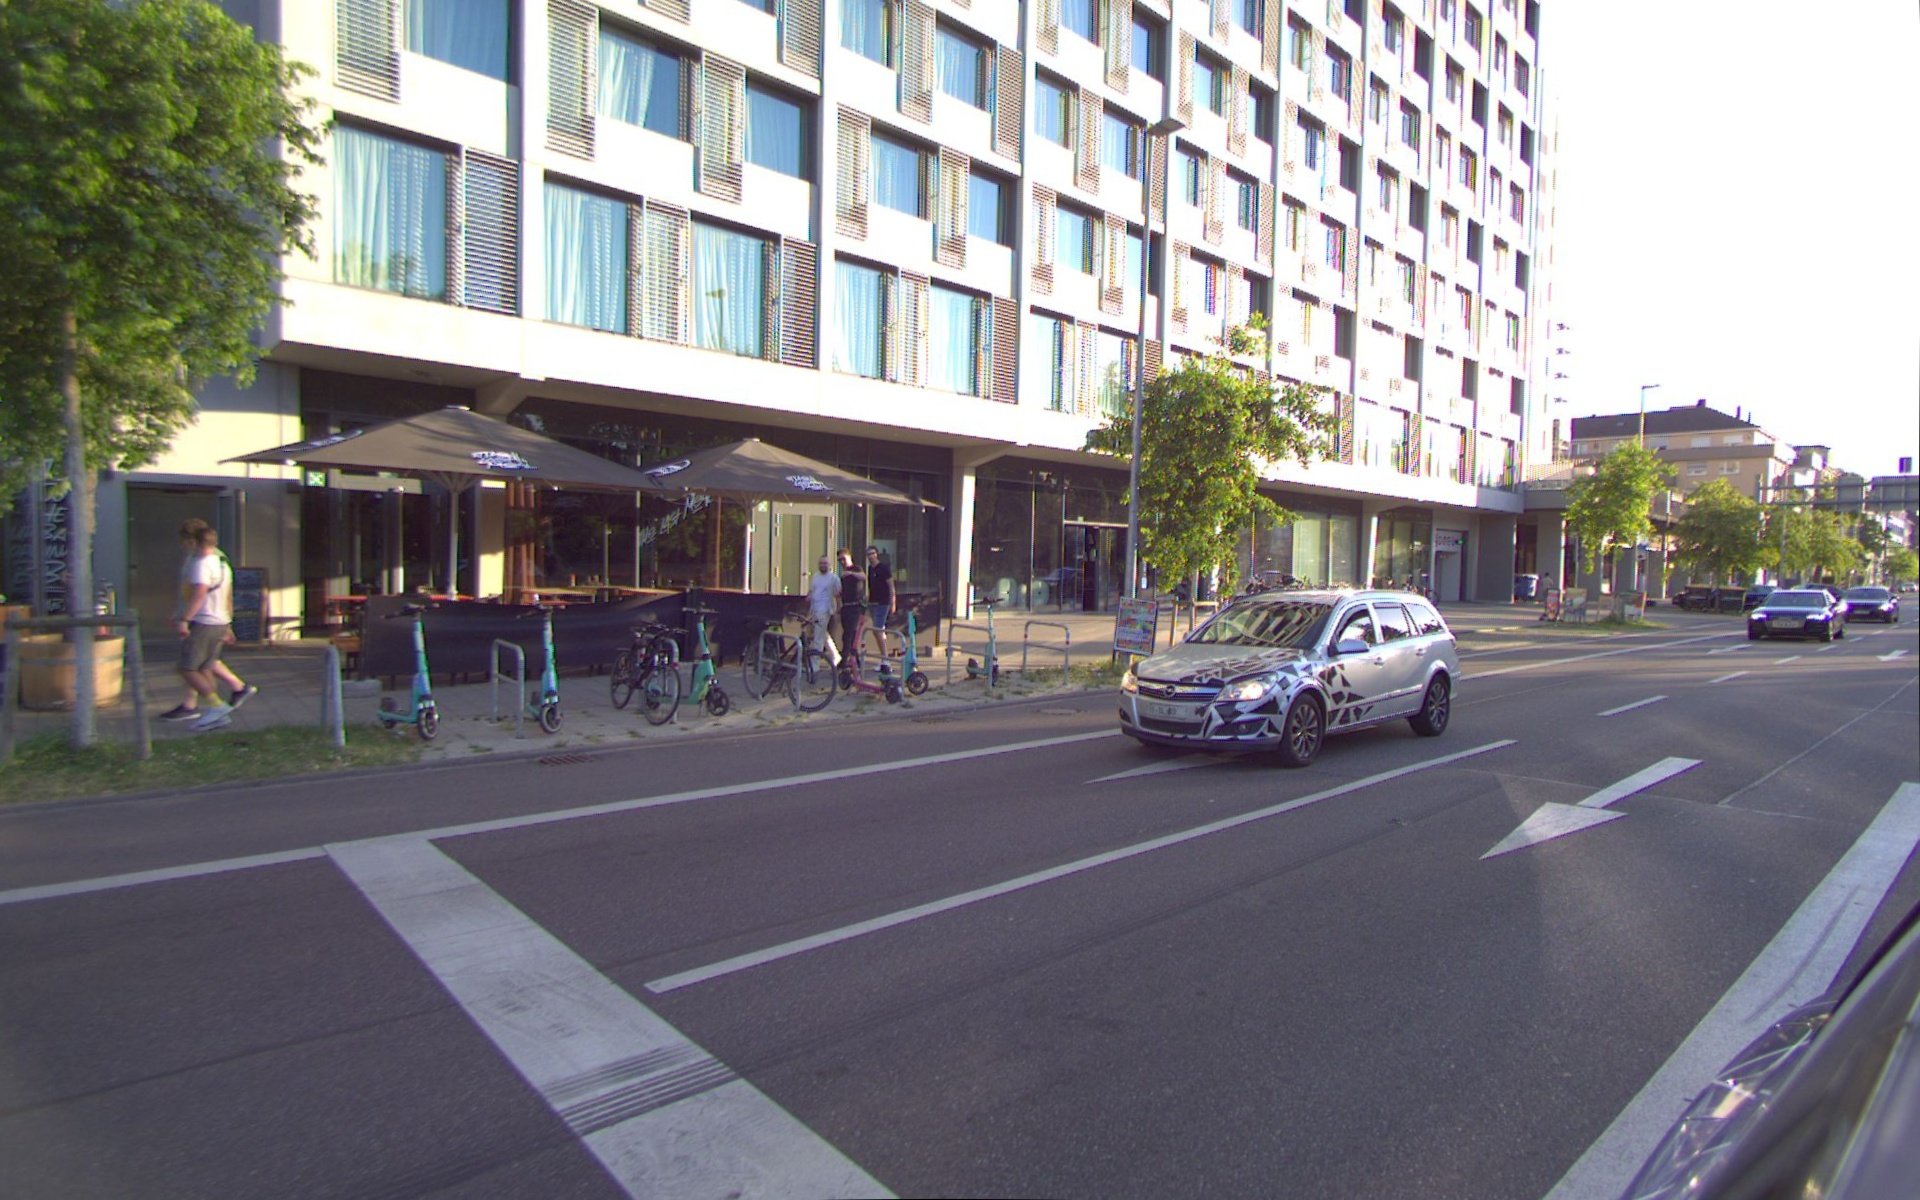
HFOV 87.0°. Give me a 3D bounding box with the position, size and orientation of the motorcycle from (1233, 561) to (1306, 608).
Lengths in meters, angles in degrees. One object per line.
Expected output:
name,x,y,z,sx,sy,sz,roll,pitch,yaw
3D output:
motorcycle,10.043,-0.526,32.840,2.104,1.403,0.664,4,3,34

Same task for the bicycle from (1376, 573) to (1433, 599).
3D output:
bicycle,17.980,-0.578,40.952,2.015,0.969,0.611,5,4,42

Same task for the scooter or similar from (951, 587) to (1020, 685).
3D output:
scooter or similar,0.339,0.484,14.429,0.524,1.232,1.300,1,4,-19

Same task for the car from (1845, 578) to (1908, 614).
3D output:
car,37.892,-0.179,41.833,1.858,1.413,4.210,0,1,43

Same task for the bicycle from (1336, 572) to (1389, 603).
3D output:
bicycle,14.789,-0.475,37.205,1.701,0.998,0.542,6,4,45

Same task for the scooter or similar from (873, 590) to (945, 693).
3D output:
scooter or similar,-0.699,0.524,13.470,0.521,1.228,1.134,-1,5,-27

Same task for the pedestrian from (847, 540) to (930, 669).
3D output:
pedestrian,-1.075,0.048,15.157,0.922,1.846,0.759,0,4,-34

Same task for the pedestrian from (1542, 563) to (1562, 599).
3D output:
pedestrian,26.924,-0.867,46.042,0.576,1.638,0.633,5,4,44

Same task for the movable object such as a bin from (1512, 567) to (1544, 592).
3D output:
movable object such as a bin,30.550,-1.106,54.439,1.283,1.315,1.183,-1,3,-44

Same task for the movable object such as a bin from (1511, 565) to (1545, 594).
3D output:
movable object such as a bin,28.352,-1.040,50.522,1.262,1.345,1.106,-1,4,-44

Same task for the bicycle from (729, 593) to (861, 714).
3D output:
bicycle,-1.991,0.585,12.034,0.598,1.196,1.850,0,5,-43

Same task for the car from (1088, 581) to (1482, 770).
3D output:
car,3.352,0.562,10.014,4.229,1.482,1.831,-1,1,-42

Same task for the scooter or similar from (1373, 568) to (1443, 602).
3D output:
scooter or similar,17.362,-0.603,39.255,0.610,1.197,2.376,0,4,-43

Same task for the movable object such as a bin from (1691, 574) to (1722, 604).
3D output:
movable object such as a bin,36.269,-0.534,49.149,1.014,1.363,1.143,6,5,42

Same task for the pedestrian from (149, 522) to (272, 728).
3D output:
pedestrian,-6.955,0.192,9.399,0.815,1.807,0.577,-3,5,-45

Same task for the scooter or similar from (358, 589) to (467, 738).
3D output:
scooter or similar,-5.126,0.551,9.458,1.052,1.238,0.589,5,4,44

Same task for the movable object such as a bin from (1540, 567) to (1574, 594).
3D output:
movable object such as a bin,31.547,-1.015,53.502,1.246,1.338,1.183,-1,5,-44

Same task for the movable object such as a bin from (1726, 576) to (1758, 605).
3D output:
movable object such as a bin,37.254,-0.459,48.211,1.084,1.317,1.341,5,4,41

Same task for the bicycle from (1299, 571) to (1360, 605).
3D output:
bicycle,12.868,-0.428,35.308,0.556,1.021,1.888,-1,5,-44

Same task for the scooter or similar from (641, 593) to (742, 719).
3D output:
scooter or similar,-2.950,0.575,11.079,1.209,1.216,0.473,6,4,43

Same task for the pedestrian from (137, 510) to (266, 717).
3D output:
pedestrian,-7.450,0.084,9.942,0.824,1.910,0.853,5,5,43

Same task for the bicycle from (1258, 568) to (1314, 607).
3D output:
bicycle,10.748,-0.421,33.346,1.602,1.168,0.604,5,4,35

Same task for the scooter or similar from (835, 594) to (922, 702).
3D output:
scooter or similar,-1.035,0.574,12.756,0.501,1.205,1.159,-2,6,-40

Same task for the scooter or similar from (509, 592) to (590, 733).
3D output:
scooter or similar,-4.080,0.576,10.019,0.539,1.238,1.066,0,4,-33

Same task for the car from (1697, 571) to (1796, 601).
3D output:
car,44.205,-0.802,56.961,3.926,1.433,1.748,3,4,10

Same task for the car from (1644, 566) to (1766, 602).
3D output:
car,38.691,-0.850,52.653,4.591,1.526,1.936,3,4,8

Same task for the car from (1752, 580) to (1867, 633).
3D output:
car,24.213,0.145,28.797,4.203,1.413,1.913,-1,1,-41

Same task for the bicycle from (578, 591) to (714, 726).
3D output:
bicycle,-3.399,0.580,10.856,1.794,1.208,0.559,6,5,43

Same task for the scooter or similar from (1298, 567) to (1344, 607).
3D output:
scooter or similar,12.130,-0.437,34.060,1.268,1.248,0.599,5,4,44

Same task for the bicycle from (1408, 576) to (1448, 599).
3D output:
bicycle,19.264,-0.526,41.685,0.449,0.902,1.423,0,3,-43

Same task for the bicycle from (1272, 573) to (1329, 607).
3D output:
bicycle,11.395,-0.345,33.939,1.701,0.998,0.542,6,4,45

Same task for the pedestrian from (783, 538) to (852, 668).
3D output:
pedestrian,-2.102,0.029,14.868,0.762,1.833,0.621,0,5,-34

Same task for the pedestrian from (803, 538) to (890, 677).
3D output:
pedestrian,-1.608,0.084,14.310,0.922,1.870,0.747,0,5,-34
